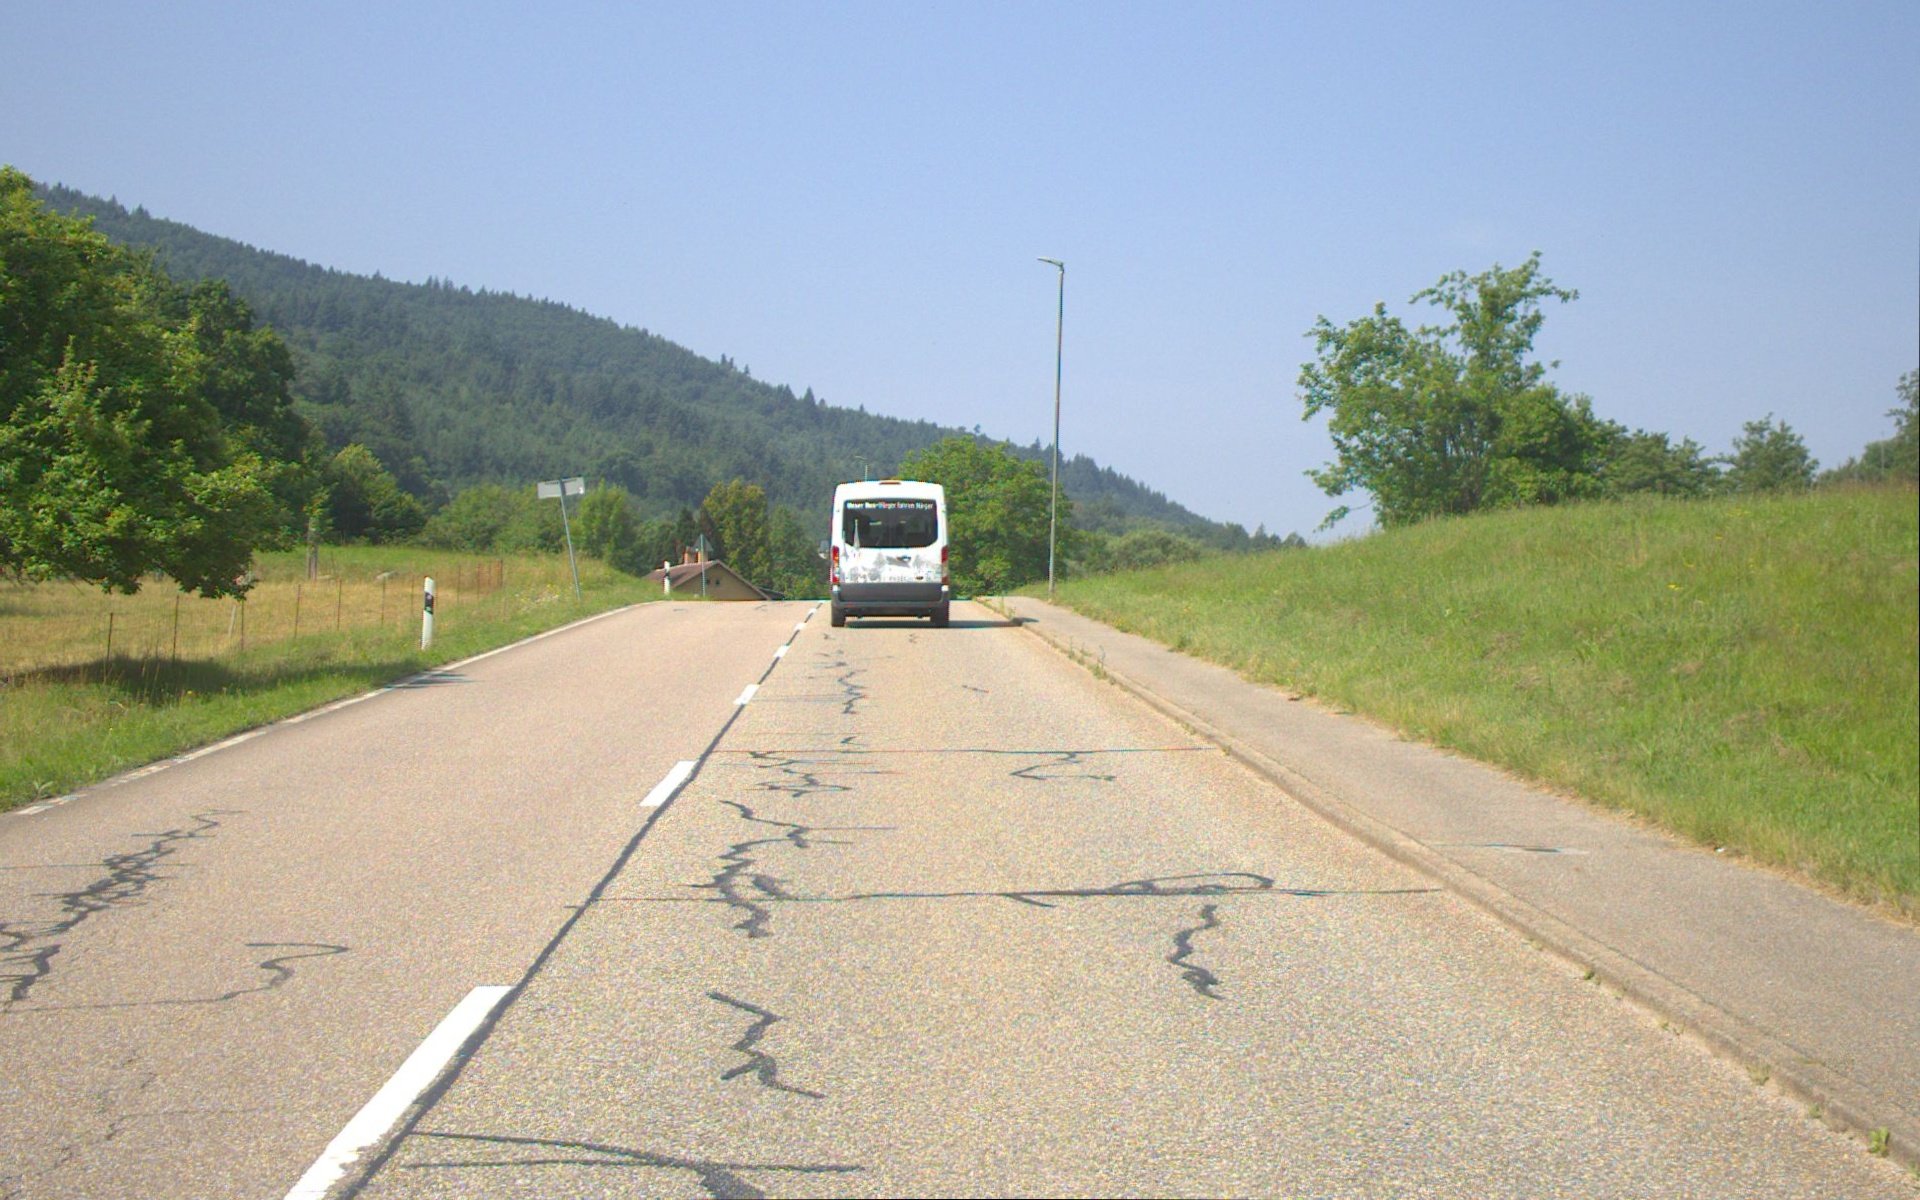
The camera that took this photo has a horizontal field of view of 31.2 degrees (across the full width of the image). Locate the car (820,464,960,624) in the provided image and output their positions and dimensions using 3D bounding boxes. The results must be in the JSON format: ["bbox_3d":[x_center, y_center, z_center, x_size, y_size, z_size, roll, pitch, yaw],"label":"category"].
[{"bbox_3d":[-1.217,-0.908,59.333,2.222,2.517,4.984,-2,-1,-1],"label":"car"}]
